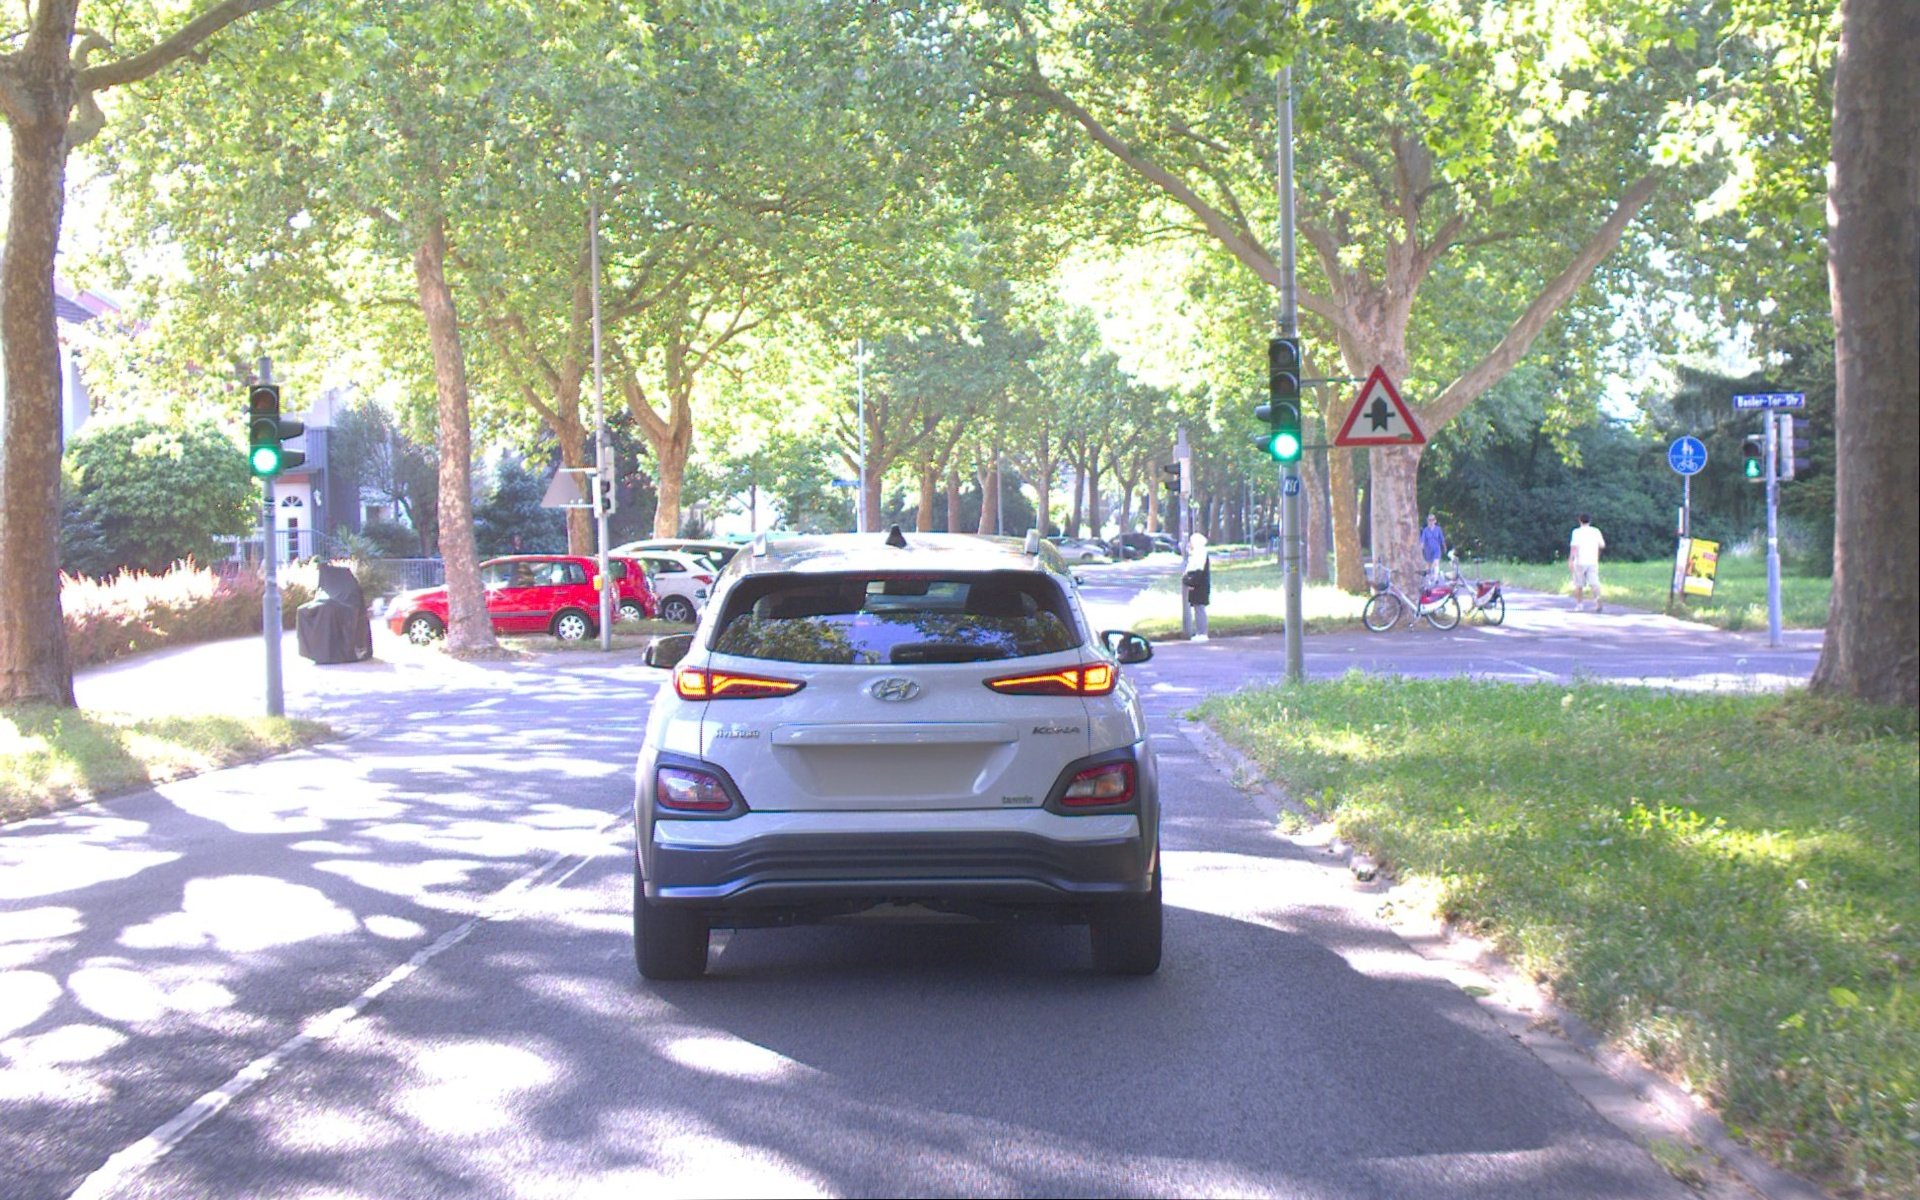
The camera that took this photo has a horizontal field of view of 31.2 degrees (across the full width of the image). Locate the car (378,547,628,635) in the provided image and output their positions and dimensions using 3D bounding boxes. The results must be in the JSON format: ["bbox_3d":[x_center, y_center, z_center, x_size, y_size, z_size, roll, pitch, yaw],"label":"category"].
[{"bbox_3d":[-7.782,-0.160,58.821,3.987,1.473,2.000,0,0,1],"label":"car"}]

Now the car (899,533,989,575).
[{"bbox_3d":[-0.706,-2.026,150.234,3.668,1.802,1.749,0,1,-8],"label":"car"}]

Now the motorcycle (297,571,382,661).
[{"bbox_3d":[-9.785,0.236,54.334,0.846,1.374,2.776,0,0,0],"label":"motorcycle"}]

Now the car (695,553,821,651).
[{"bbox_3d":[-3.110,0.002,53.464,1.688,1.432,3.682,0,1,1],"label":"car"}]

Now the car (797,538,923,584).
[{"bbox_3d":[-3.245,-1.264,112.204,3.987,1.473,2.000,0,0,1],"label":"car"}]

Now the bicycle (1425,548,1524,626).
[{"bbox_3d":[7.918,-0.202,52.993,0.603,1.179,2.119,0,0,-19],"label":"bicycle"}]

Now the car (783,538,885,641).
[{"bbox_3d":[-2.338,-0.196,64.743,1.791,1.875,4.000,0,0,0],"label":"car"}]

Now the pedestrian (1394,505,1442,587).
[{"bbox_3d":[11.545,-1.359,86.683,1.095,2.007,1.105,-2,1,7],"label":"pedestrian"}]

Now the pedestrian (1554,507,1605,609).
[{"bbox_3d":[10.544,-0.714,58.522,0.834,1.730,0.885,0,0,9],"label":"pedestrian"}]

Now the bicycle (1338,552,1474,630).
[{"bbox_3d":[6.766,-0.140,52.227,0.603,1.160,2.149,0,0,-43],"label":"bicycle"}]

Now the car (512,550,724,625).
[{"bbox_3d":[-6.796,-0.250,68.560,3.987,1.473,2.000,0,0,1],"label":"car"}]

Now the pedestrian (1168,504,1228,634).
[{"bbox_3d":[3.718,-0.486,53.721,0.868,2.007,0.813,0,0,9],"label":"pedestrian"}]

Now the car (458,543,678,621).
[{"bbox_3d":[-7.539,-0.340,66.378,3.987,1.473,2.000,0,0,1],"label":"car"}]

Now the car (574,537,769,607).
[{"bbox_3d":[-6.164,-0.599,73.737,3.987,1.473,2.000,0,0,1],"label":"car"}]

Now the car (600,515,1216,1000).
[{"bbox_3d":[-0.176,0.494,13.162,1.993,1.569,4.000,0,0,0],"label":"car"}]

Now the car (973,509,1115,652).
[{"bbox_3d":[1.302,-0.321,51.653,1.994,2.007,4.000,-2,1,3],"label":"car"}]

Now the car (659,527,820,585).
[{"bbox_3d":[-5.628,-1.123,88.110,3.987,1.473,2.000,0,0,1],"label":"car"}]
